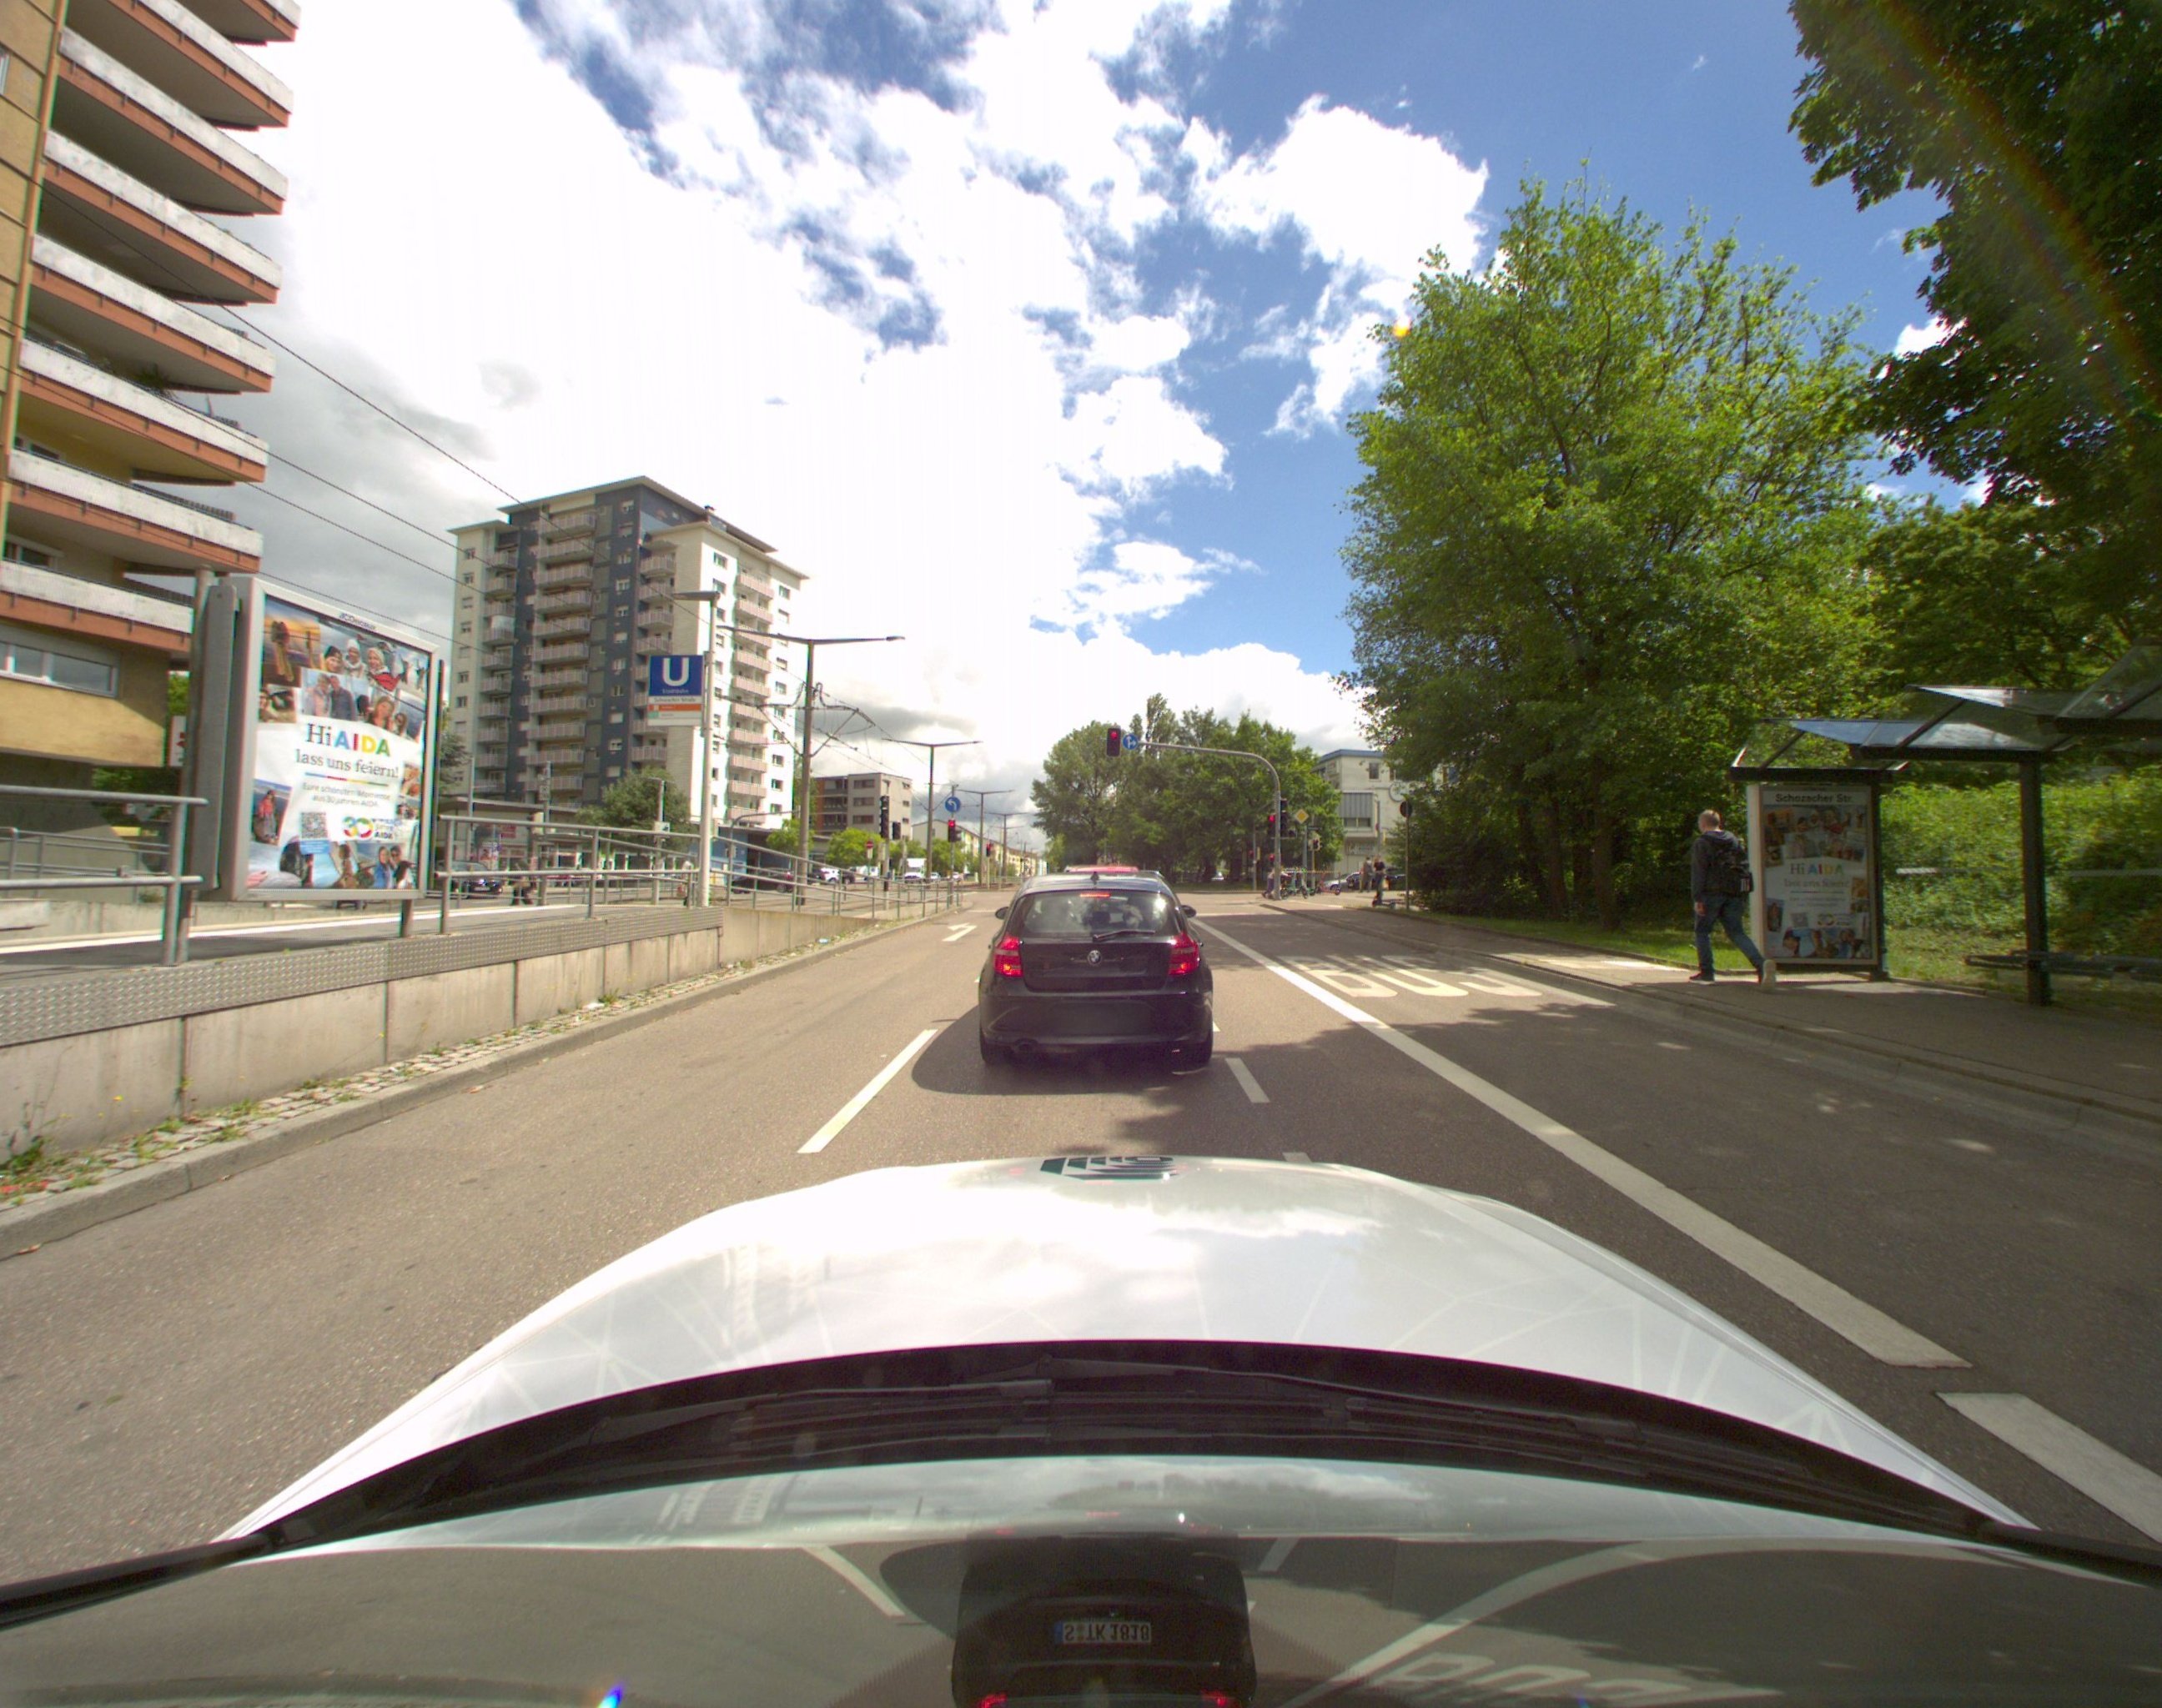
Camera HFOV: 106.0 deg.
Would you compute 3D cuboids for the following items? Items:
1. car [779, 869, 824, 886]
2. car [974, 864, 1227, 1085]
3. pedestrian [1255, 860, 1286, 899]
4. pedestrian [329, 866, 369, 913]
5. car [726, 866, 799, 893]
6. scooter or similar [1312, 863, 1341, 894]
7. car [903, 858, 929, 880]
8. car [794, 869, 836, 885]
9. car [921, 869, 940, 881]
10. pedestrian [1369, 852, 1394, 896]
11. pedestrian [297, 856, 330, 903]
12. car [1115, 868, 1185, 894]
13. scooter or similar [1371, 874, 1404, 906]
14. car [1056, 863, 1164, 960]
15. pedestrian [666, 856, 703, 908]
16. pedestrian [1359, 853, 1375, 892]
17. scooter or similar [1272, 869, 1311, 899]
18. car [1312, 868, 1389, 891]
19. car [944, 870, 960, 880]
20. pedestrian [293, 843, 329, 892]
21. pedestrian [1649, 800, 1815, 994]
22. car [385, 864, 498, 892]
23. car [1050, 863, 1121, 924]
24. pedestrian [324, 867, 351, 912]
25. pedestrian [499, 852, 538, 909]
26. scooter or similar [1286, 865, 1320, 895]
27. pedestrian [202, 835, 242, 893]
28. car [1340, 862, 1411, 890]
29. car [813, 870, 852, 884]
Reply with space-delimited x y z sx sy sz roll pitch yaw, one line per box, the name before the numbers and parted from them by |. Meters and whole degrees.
car | -25.536 2.140 74.498 3.600 1.462 1.613 -1 -1 -7
car | 0.236 0.809 7.093 1.647 1.419 3.520 -1 0 4
pedestrian | 7.223 0.948 31.004 0.856 1.442 0.803 -1 -1 37
pedestrian | -21.745 1.034 24.218 0.691 1.343 0.852 0 -1 -29
car | -18.403 1.462 47.184 3.600 1.462 1.613 -1 -1 -7
scooter or similar | 10.227 1.022 33.926 1.107 1.258 0.331 -1 -1 -10
car | -20.539 1.875 101.673 2.132 2.640 5.358 0 -1 0
car | -25.712 2.244 78.894 3.600 1.462 1.613 -1 -1 -7
car | -21.140 2.879 114.256 1.960 1.596 3.999 0 -1 0
pedestrian | 12.628 0.856 34.182 0.752 1.790 0.572 3 -1 39
pedestrian | -26.448 0.867 28.067 0.602 1.583 0.779 -1 -1 41
car | 4.151 1.613 49.286 3.983 1.526 1.671 0 -1 -7
scooter or similar | 10.798 1.247 28.692 1.153 1.099 0.329 0 -1 -22
car | 0.510 0.870 13.829 1.588 1.419 3.519 -1 0 3
pedestrian | -13.056 0.906 26.829 0.851 1.697 0.692 -1 -1 16
pedestrian | 13.282 0.854 37.782 0.608 1.790 0.571 3 -1 20
scooter or similar | 7.956 1.119 30.763 1.794 1.051 0.406 0 0 -38
car | 16.970 1.595 51.337 4.318 1.394 1.709 0 -1 -7
car | -21.264 3.402 134.646 1.960 1.596 3.999 0 -1 0
pedestrian | -25.458 0.444 26.948 0.625 1.578 0.853 0 -1 -26
pedestrian | 6.845 0.422 8.643 0.798 1.895 1.271 1 -1 3
car | -35.972 1.337 45.917 4.630 1.480 1.997 -1 -1 -5
car | 0.116 0.956 20.965 1.649 1.419 3.516 0 0 0
pedestrian | -22.682 1.056 24.831 0.660 1.343 0.558 -1 -1 44
pedestrian | -16.527 0.772 23.947 0.701 1.633 0.636 -1 -1 -9
scooter or similar | 9.035 1.054 33.103 1.290 1.189 0.383 -1 -1 -14
pedestrian | -25.894 0.307 24.549 0.816 1.706 0.686 -1 -1 34
car | 17.395 1.290 48.149 3.578 1.601 1.705 0 -1 -11
car | -26.187 2.429 85.899 3.600 1.462 1.613 -1 -1 -7
